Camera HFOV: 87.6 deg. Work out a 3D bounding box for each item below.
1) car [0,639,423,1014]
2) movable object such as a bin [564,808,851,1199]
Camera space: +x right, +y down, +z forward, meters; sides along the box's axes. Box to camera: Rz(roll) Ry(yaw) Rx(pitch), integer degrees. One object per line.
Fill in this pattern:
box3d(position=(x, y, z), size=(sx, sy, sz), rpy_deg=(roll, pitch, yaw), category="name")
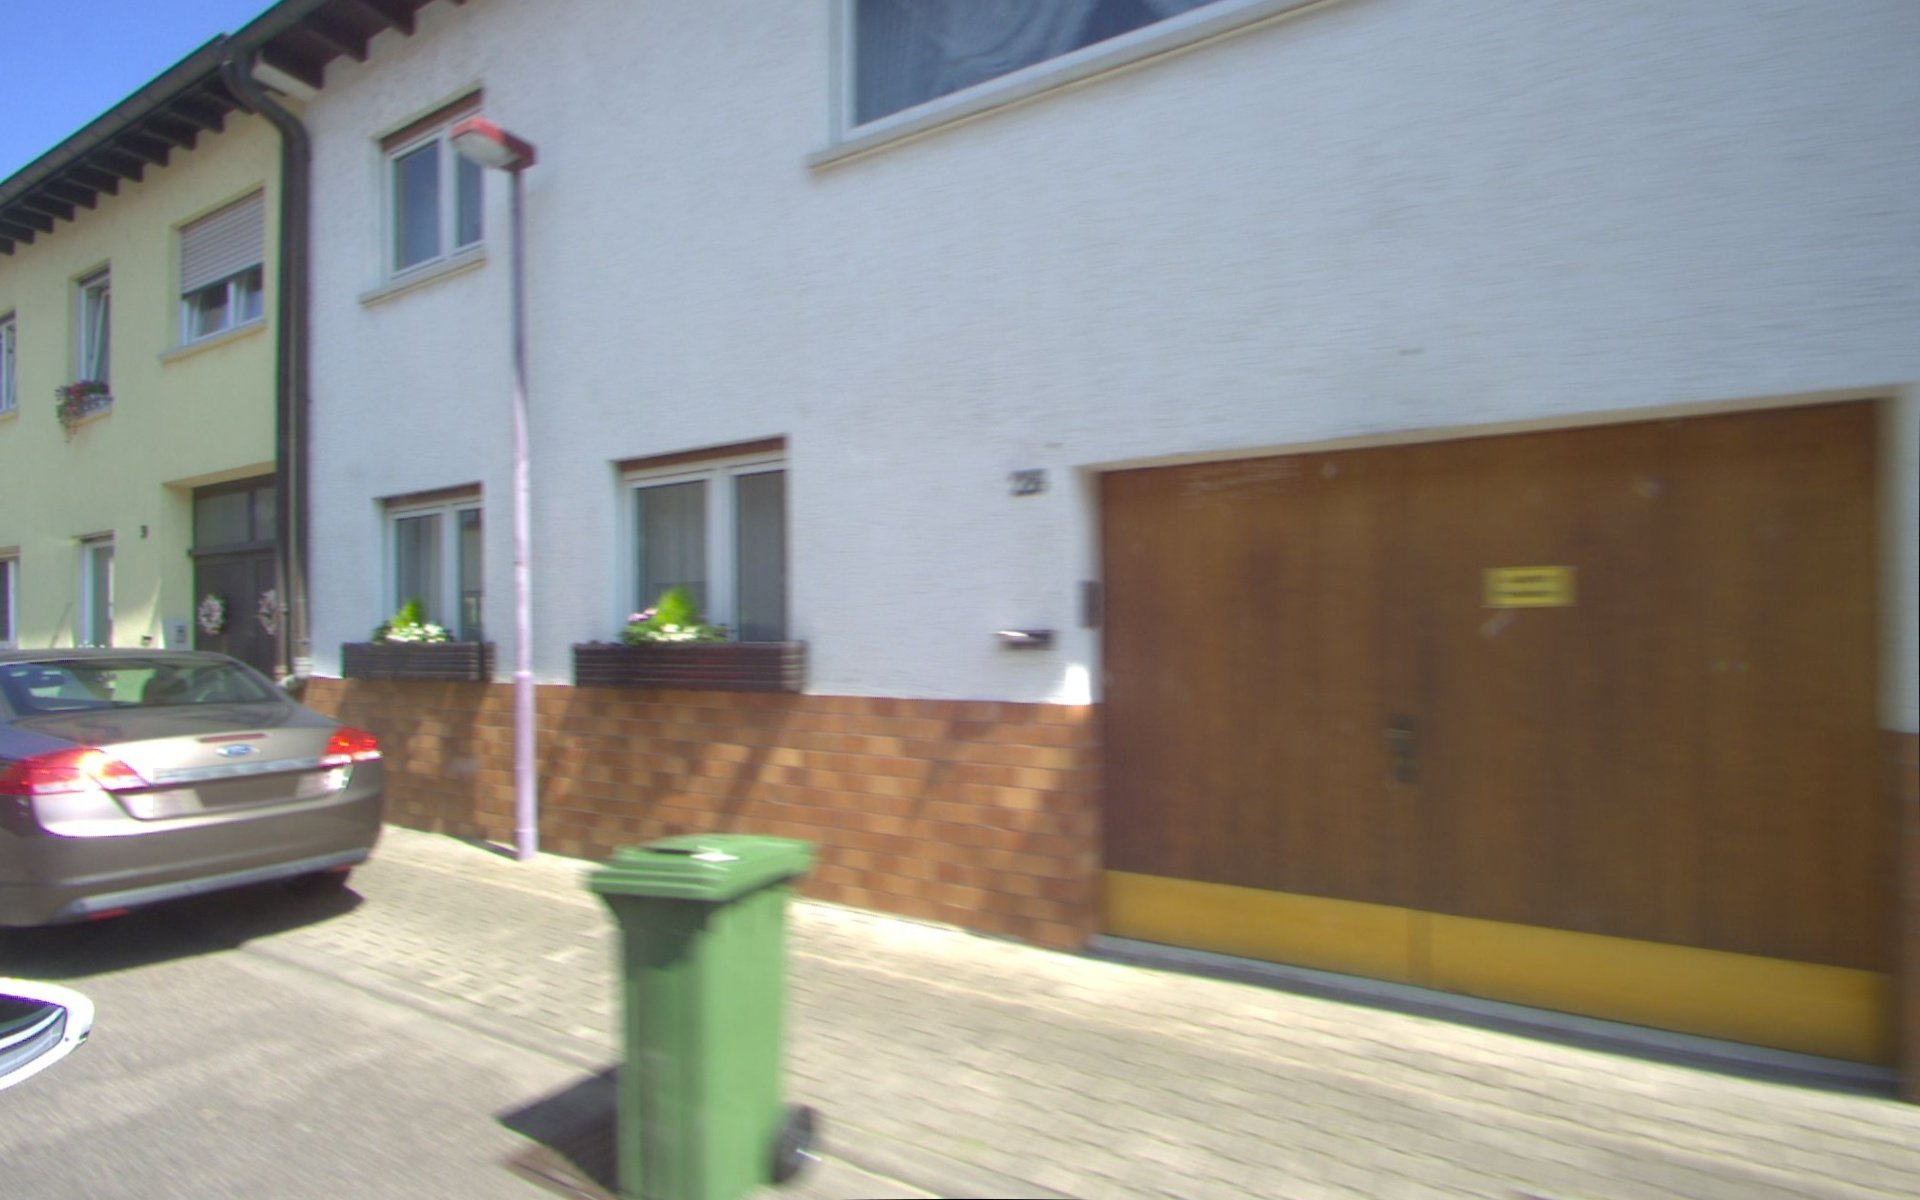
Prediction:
box3d(position=(-5.038, 0.957, 5.663), size=(4.043, 1.453, 1.695), rpy_deg=(-1, -3, 31), category="car")
box3d(position=(-0.697, 1.103, 2.832), size=(0.570, 0.903, 0.550), rpy_deg=(-1, -2, 25), category="movable object such as a bin")
